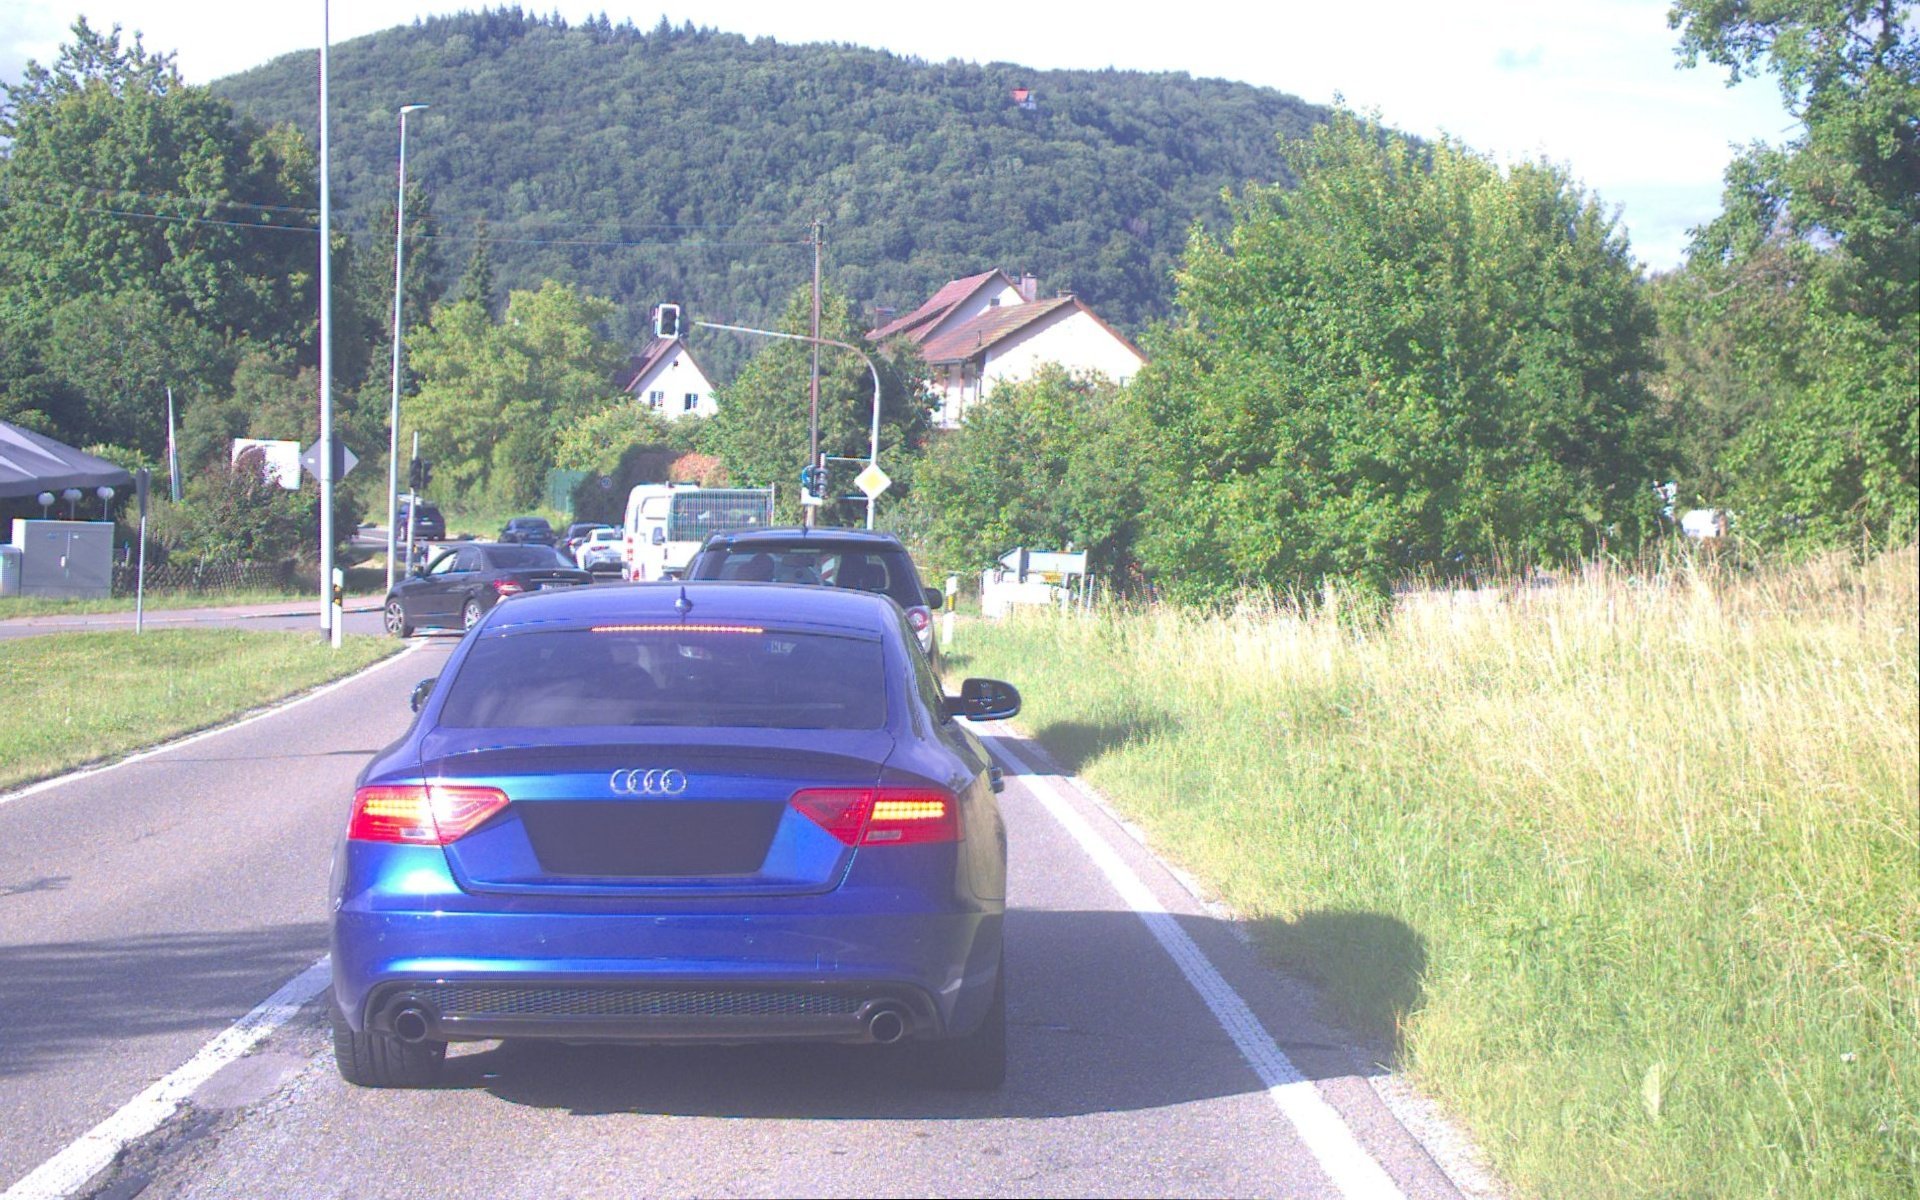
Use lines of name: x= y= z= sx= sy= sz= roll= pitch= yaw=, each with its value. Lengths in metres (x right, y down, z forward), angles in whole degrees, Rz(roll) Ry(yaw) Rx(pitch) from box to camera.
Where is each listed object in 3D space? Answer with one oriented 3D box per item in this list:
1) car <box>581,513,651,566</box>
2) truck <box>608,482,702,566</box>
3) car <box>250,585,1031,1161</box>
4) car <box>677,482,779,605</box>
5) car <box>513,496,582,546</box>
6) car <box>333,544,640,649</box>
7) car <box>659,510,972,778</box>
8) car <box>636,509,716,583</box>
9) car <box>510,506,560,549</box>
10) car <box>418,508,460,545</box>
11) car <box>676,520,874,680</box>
car: x=-10.036 y=-1.741 z=100.234 sx=1.697 sy=1.485 sz=3.528 roll=1 pitch=0 yaw=-11
truck: x=-7.560 y=-1.831 z=84.692 sx=1.697 sy=1.947 sz=5.924 roll=1 pitch=0 yaw=-11
car: x=-0.742 y=0.653 z=10.364 sx=1.795 sy=1.383 sz=4.000 roll=0 pitch=0 yaw=3
car: x=-4.356 y=-1.045 z=64.146 sx=1.746 sy=2.188 sz=4.001 roll=1 pitch=0 yaw=-6
car: x=-13.090 y=-2.494 z=108.929 sx=1.697 sy=1.485 sz=3.528 roll=1 pitch=0 yaw=-14
car: x=-6.916 y=-0.058 z=50.283 sx=3.991 sy=1.437 sz=1.918 roll=1 pitch=0 yaw=19
car: x=-0.896 y=0.260 z=23.411 sx=1.746 sy=1.634 sz=4.000 roll=1 pitch=0 yaw=3
car: x=-6.574 y=-1.223 z=79.354 sx=1.746 sy=1.634 sz=4.001 roll=1 pitch=0 yaw=-6
car: x=-15.457 y=-2.633 z=124.861 sx=1.697 sy=1.485 sz=3.528 roll=1 pitch=0 yaw=-8
car: x=-22.968 y=-3.231 z=151.450 sx=1.625 sy=1.571 sz=3.680 roll=1 pitch=0 yaw=-11
car: x=-1.980 y=-0.012 z=38.002 sx=1.805 sy=1.634 sz=4.463 roll=1 pitch=0 yaw=2
